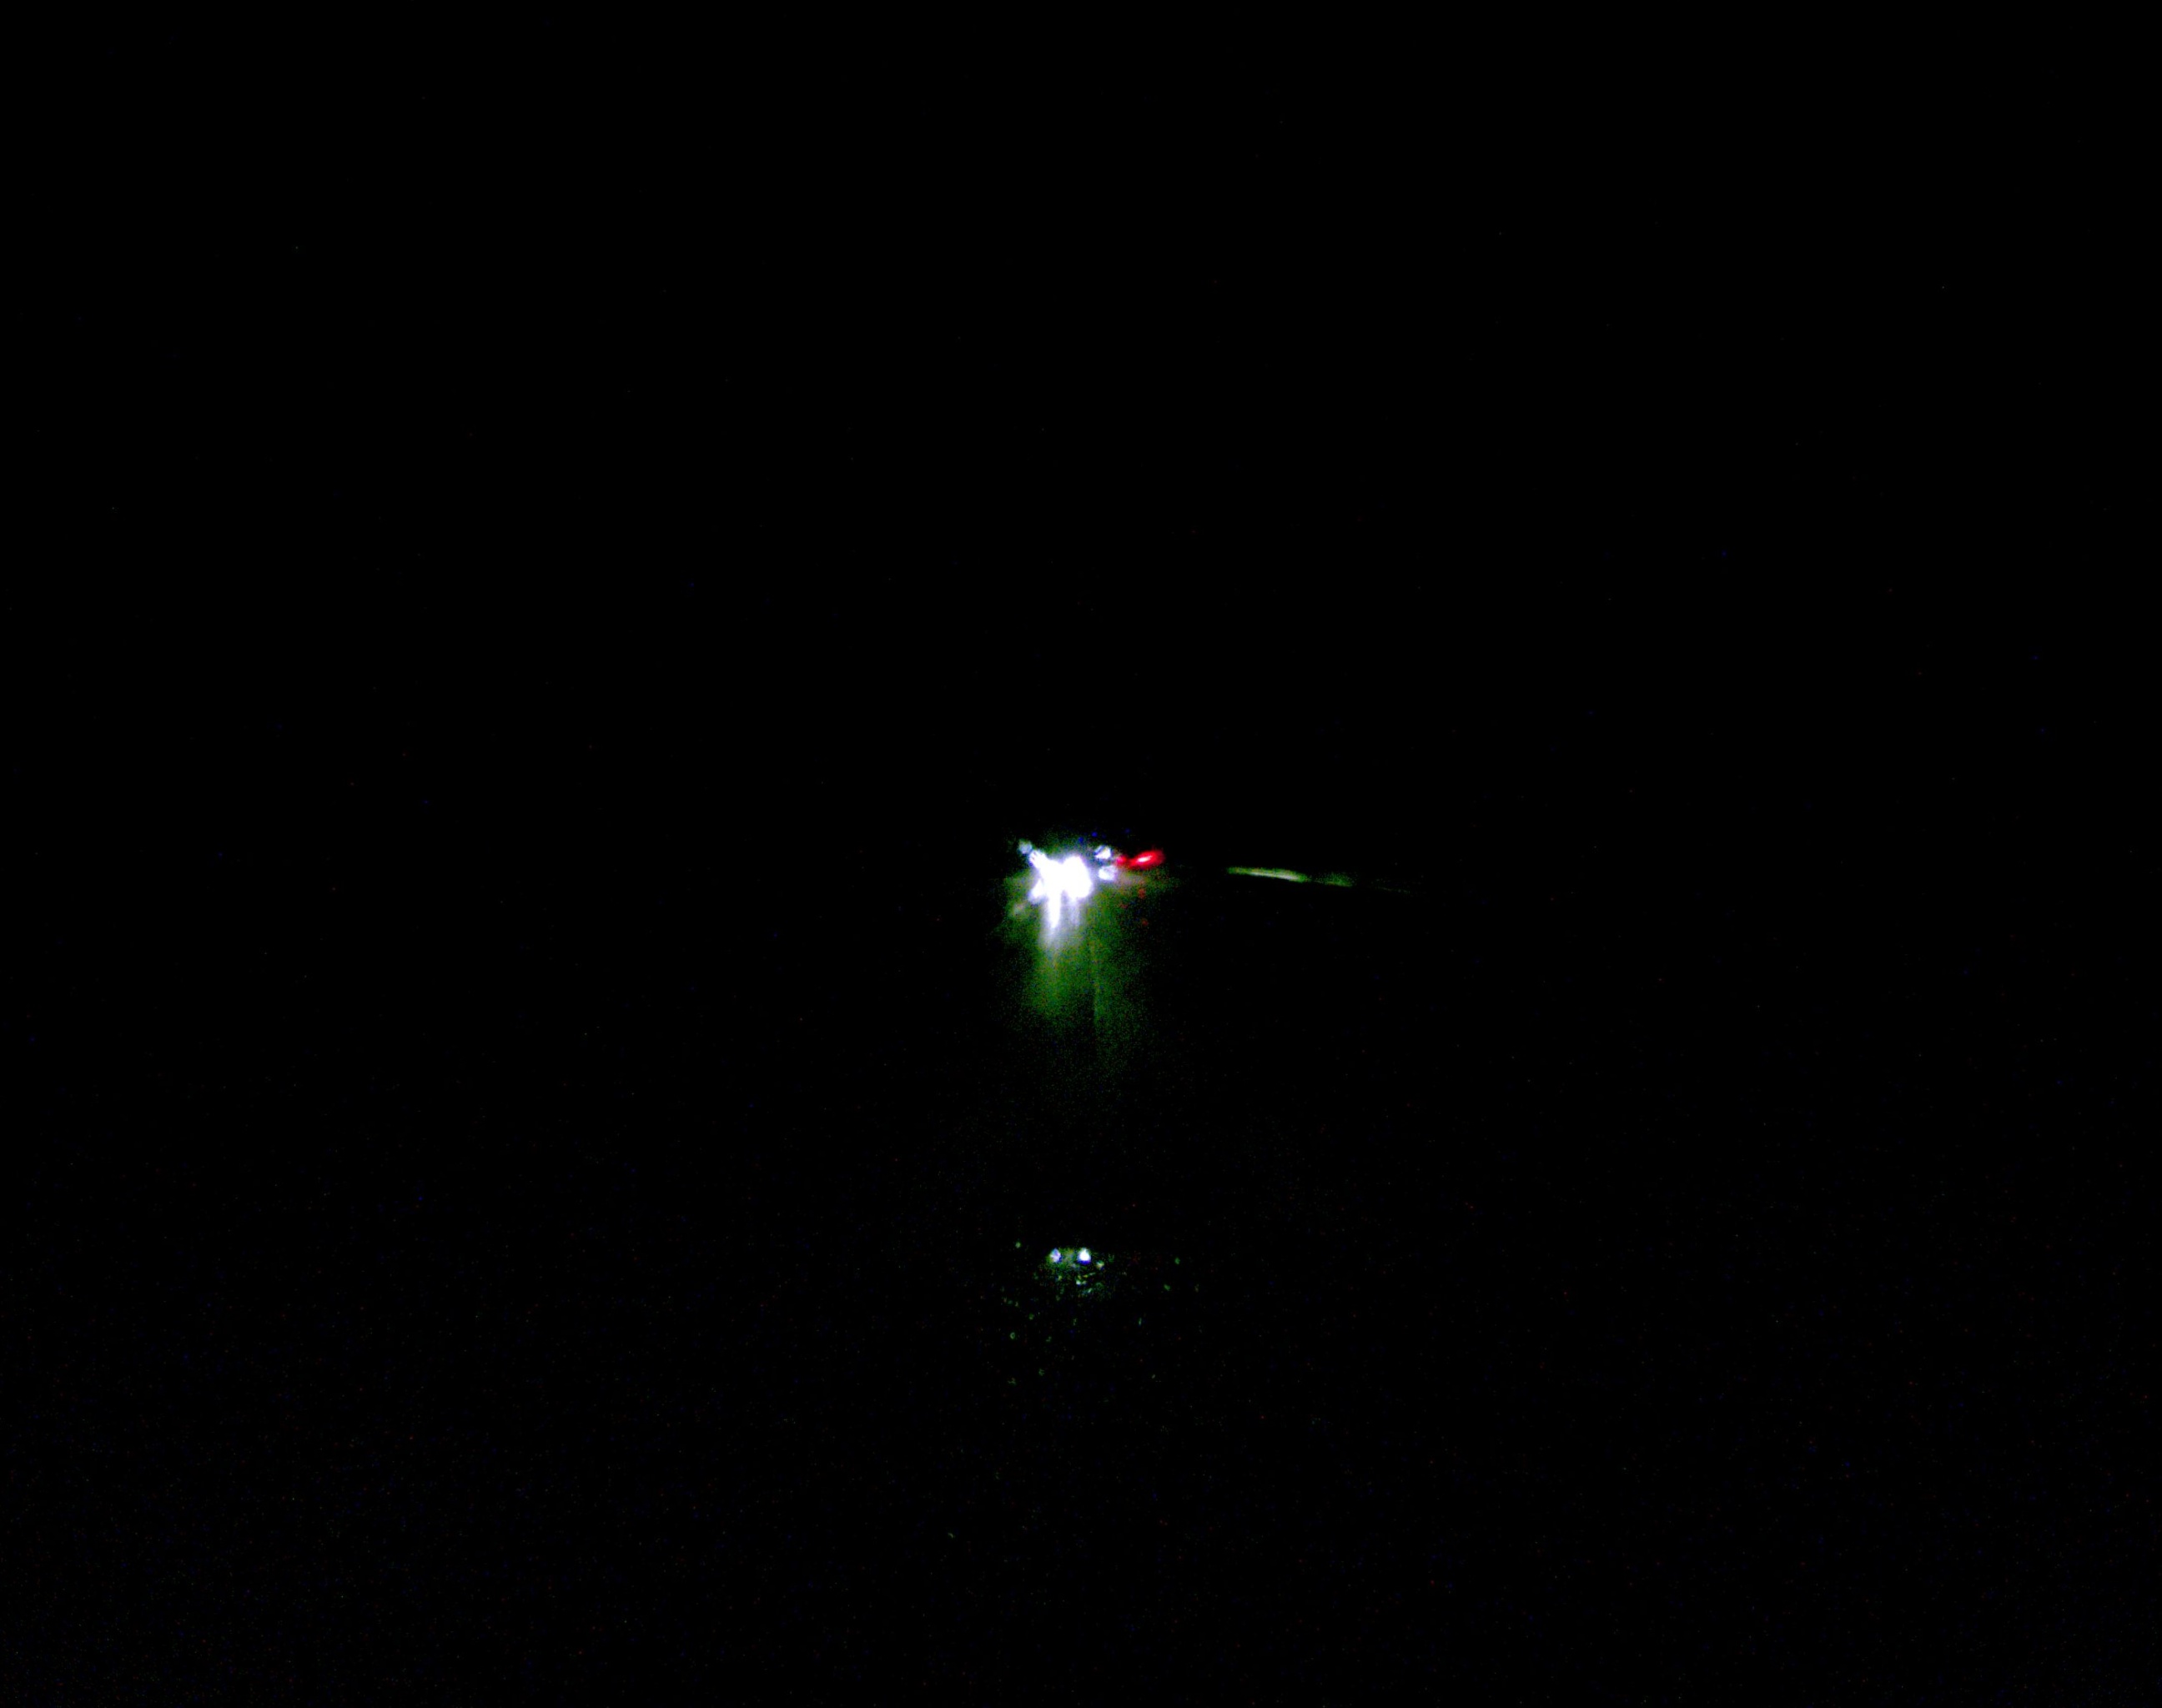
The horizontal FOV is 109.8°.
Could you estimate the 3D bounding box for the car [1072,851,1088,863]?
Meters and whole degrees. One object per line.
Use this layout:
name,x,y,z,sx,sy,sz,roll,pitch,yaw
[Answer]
car,-0.157,0.433,102.548,1.999,1.382,3.845,-4,0,-2

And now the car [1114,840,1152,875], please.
car,3.078,0.196,45.761,1.859,1.929,3.999,-3,1,0

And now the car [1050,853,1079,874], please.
car,-1.276,0.701,57.670,1.777,1.444,4.133,-5,0,-5
